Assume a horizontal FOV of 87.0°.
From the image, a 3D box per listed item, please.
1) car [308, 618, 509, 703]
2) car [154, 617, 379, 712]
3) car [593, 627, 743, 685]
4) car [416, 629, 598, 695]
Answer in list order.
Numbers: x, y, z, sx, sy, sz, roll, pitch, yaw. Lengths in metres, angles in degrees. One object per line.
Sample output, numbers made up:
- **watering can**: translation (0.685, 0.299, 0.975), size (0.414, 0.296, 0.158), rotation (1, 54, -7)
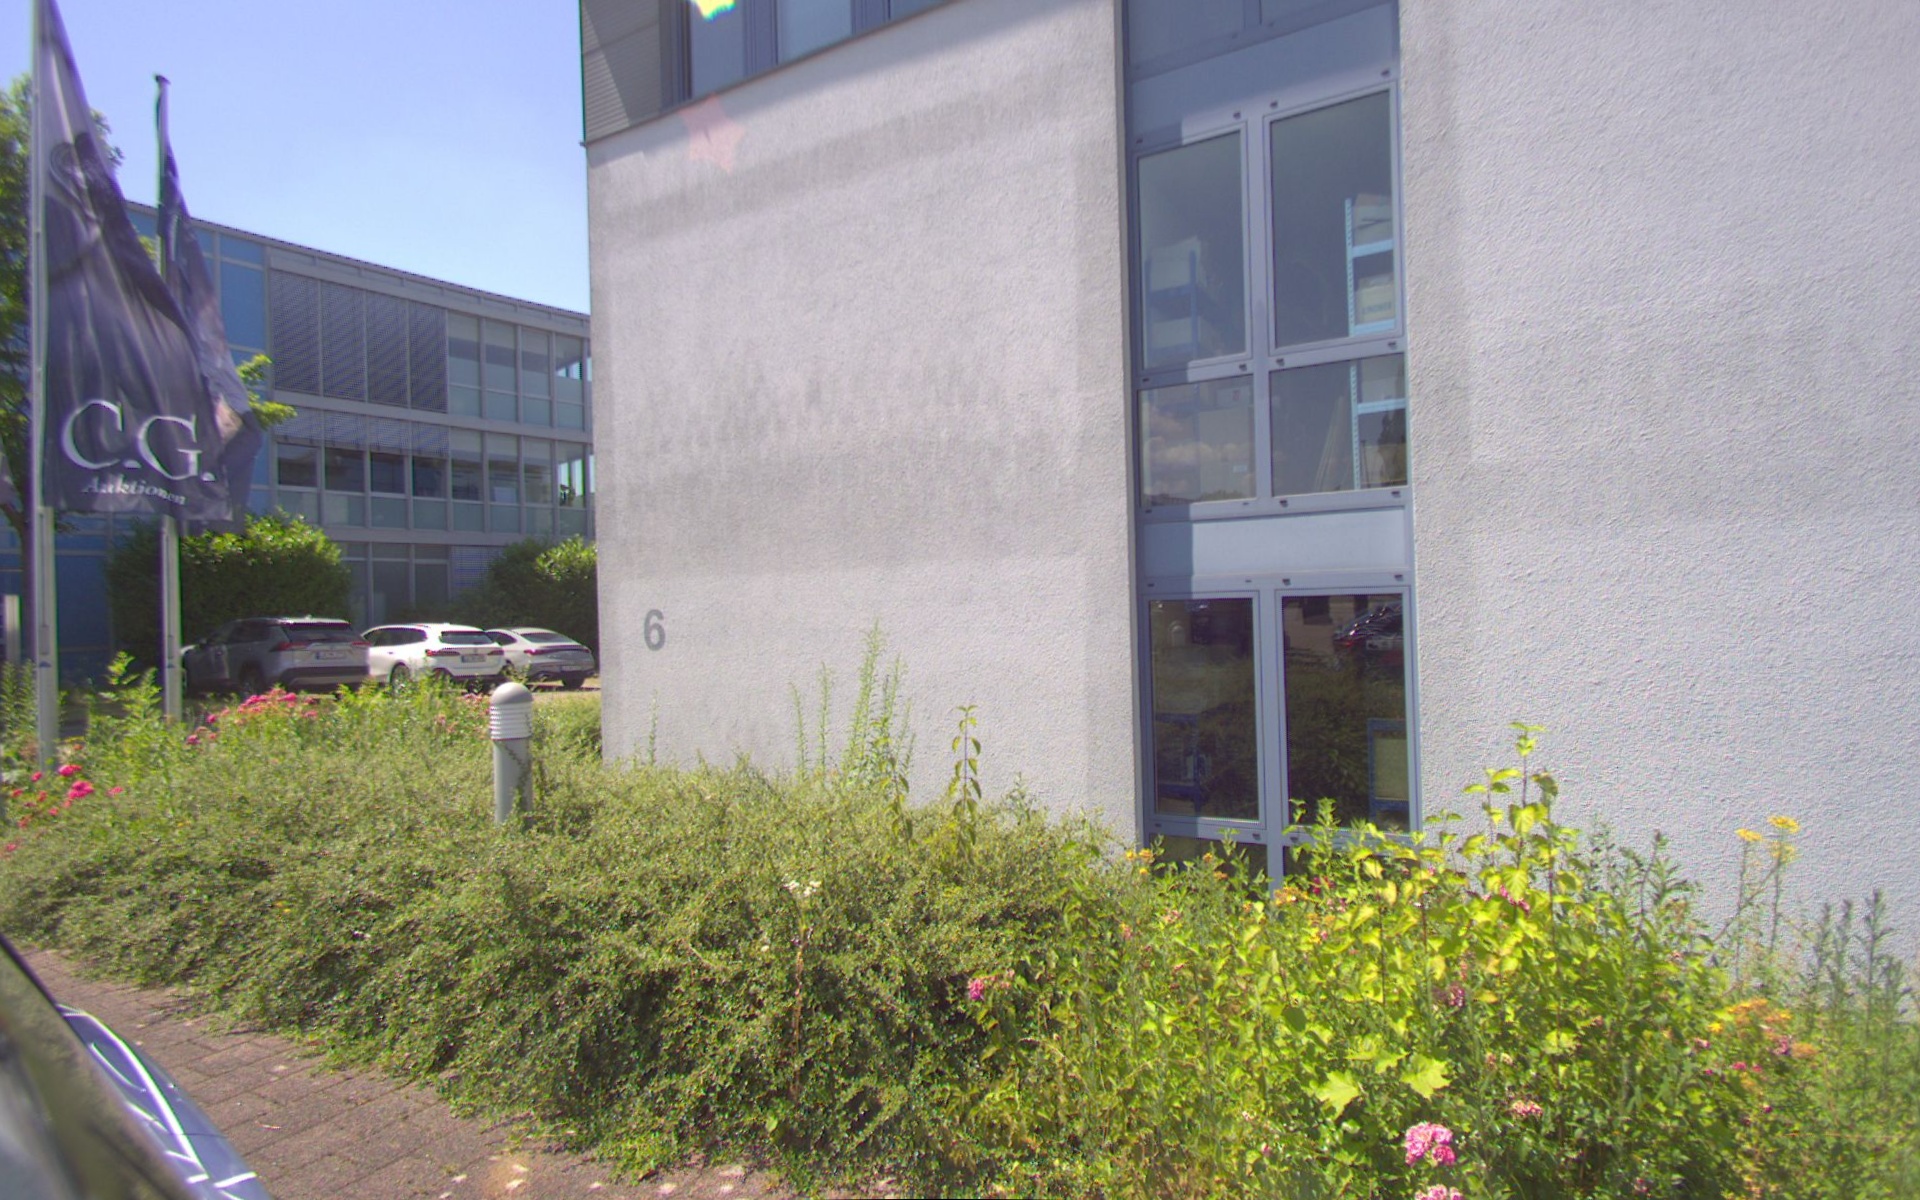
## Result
- **car**: translation (-11.717, 1.224, 21.471), size (4.153, 1.650, 1.815), rotation (-1, -2, 29)
- **car**: translation (-13.335, 1.182, 19.448), size (4.150, 1.650, 1.817), rotation (-1, -2, 27)
- **car**: translation (-8.006, 1.481, 27.660), size (4.162, 1.435, 1.732), rotation (-1, -1, 35)
- **car**: translation (-10.565, 1.385, 23.552), size (4.153, 1.411, 1.735), rotation (-1, -2, 29)
